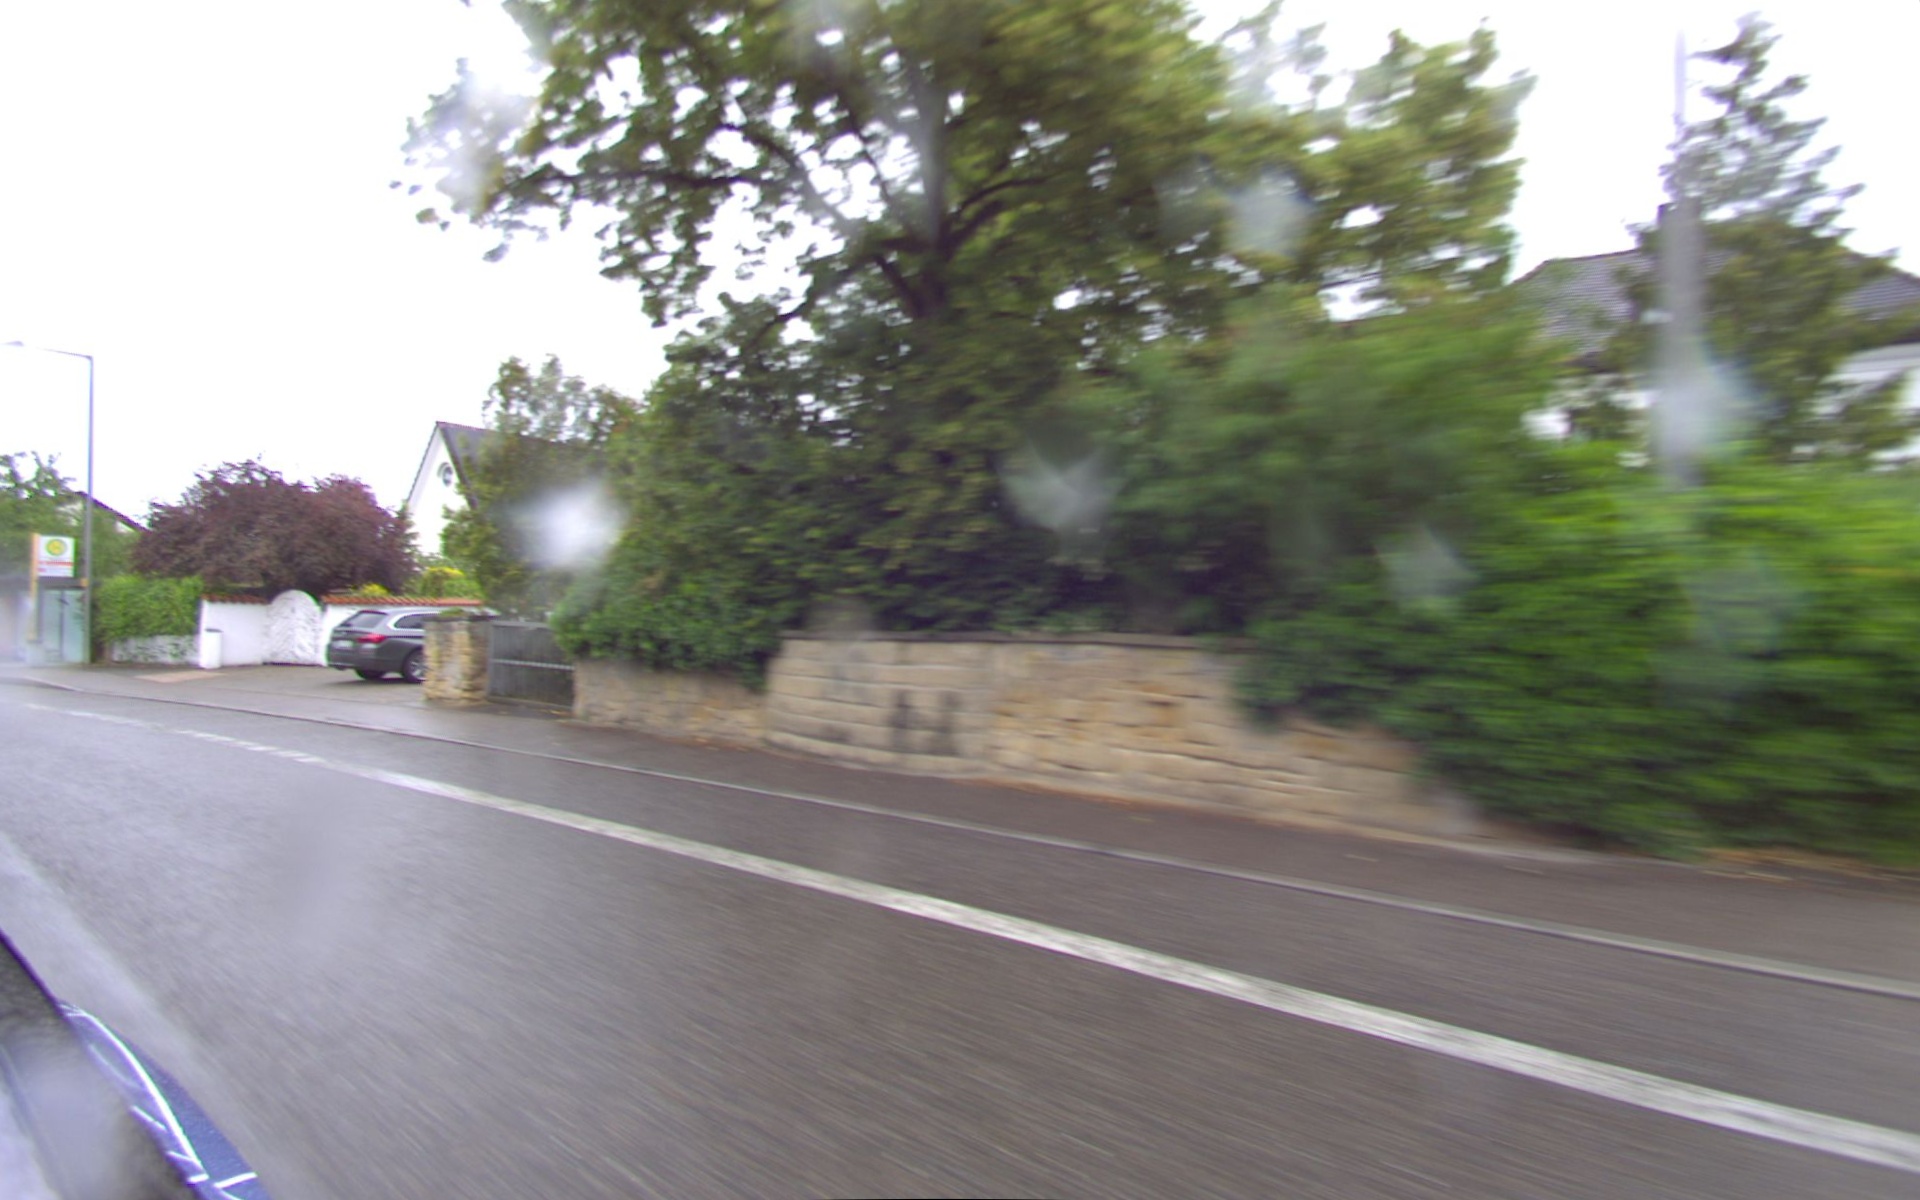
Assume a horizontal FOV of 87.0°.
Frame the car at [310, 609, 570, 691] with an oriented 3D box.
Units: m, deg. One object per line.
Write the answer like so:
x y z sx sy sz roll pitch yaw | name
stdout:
-10.522 0.958 20.840 1.832 1.487 4.507 -1 -1 31 | car
